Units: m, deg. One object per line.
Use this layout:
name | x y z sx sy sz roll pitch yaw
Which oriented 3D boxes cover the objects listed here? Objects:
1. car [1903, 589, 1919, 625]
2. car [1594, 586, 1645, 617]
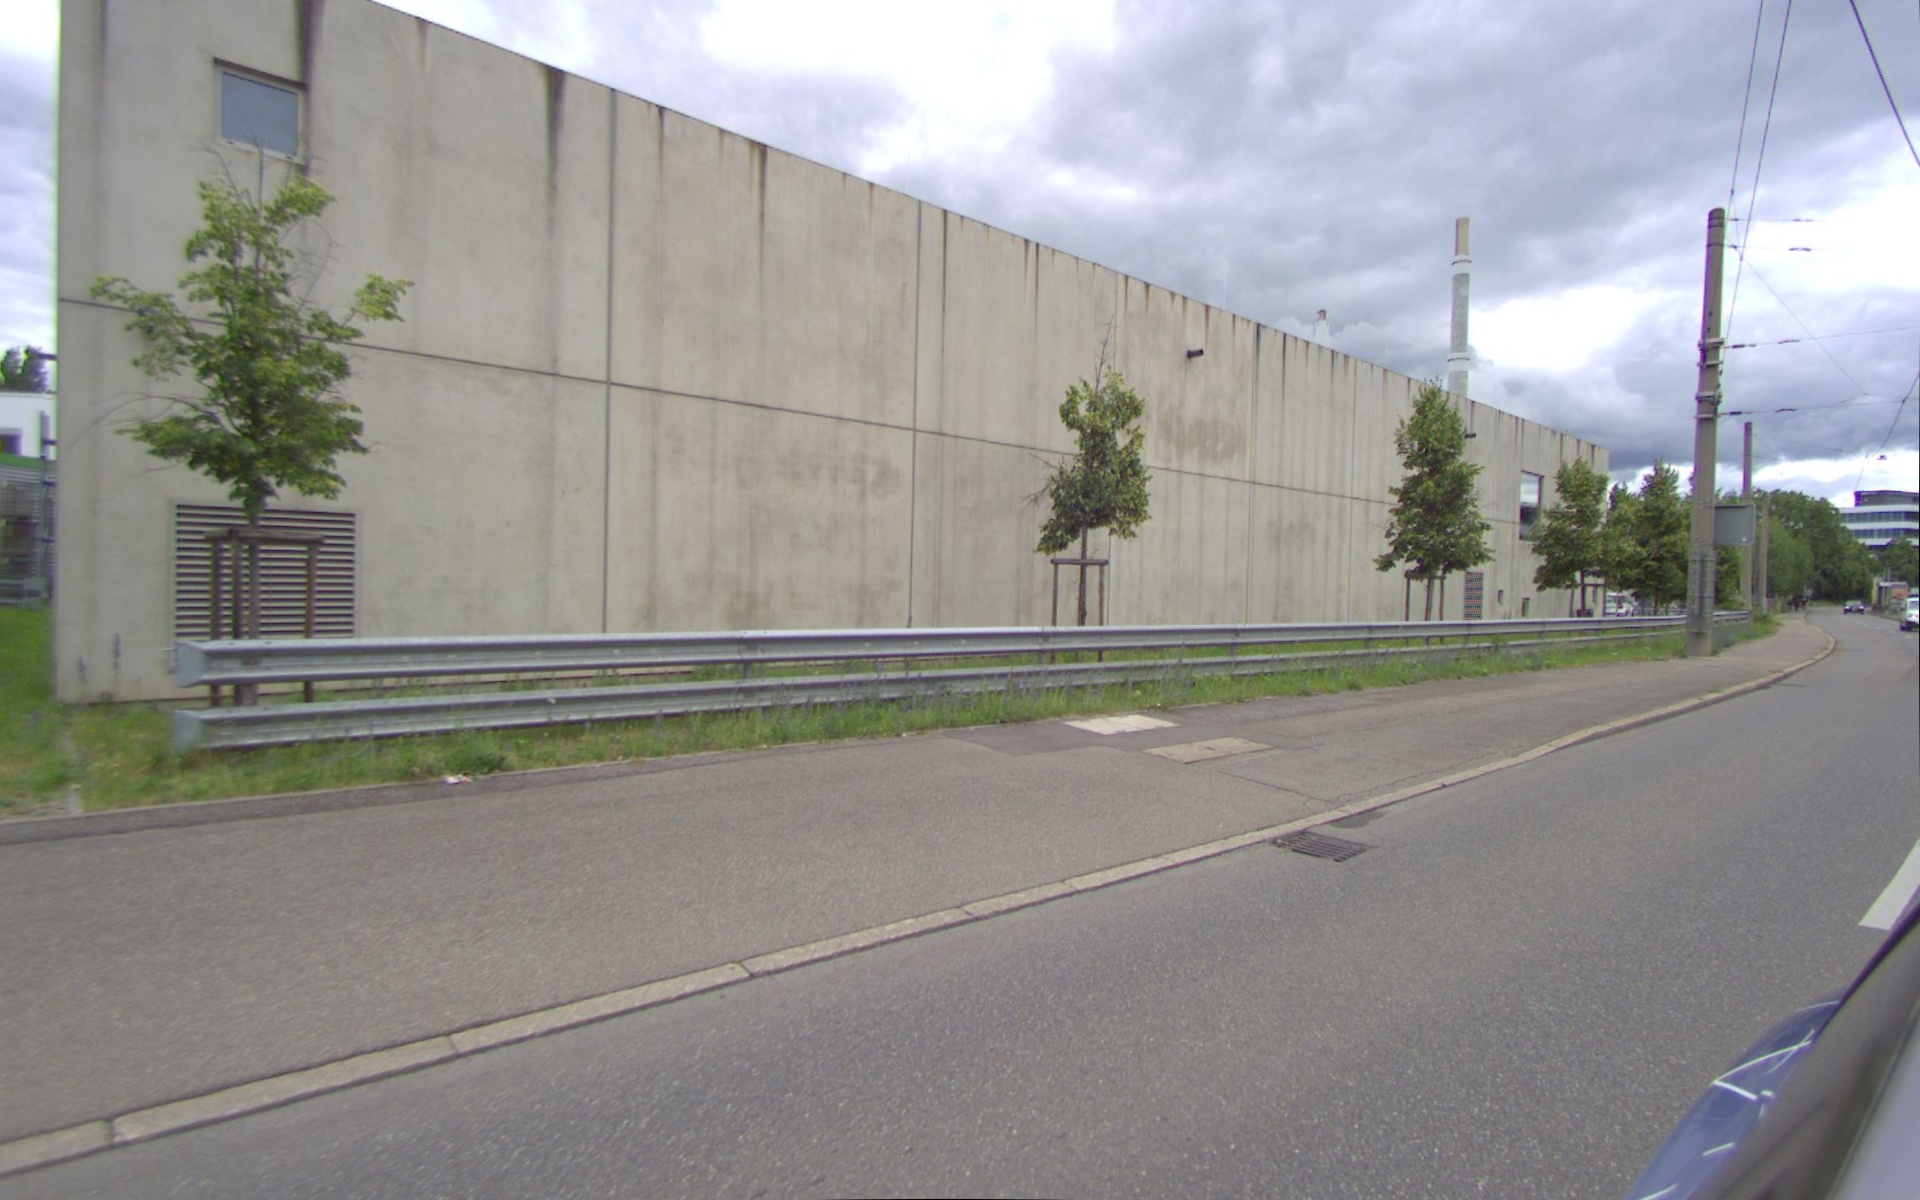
car | 52.635 0.384 54.530 1.988 1.916 4.568 2 2 35
car | 35.369 0.088 54.236 1.748 1.594 4.364 0 0 41
